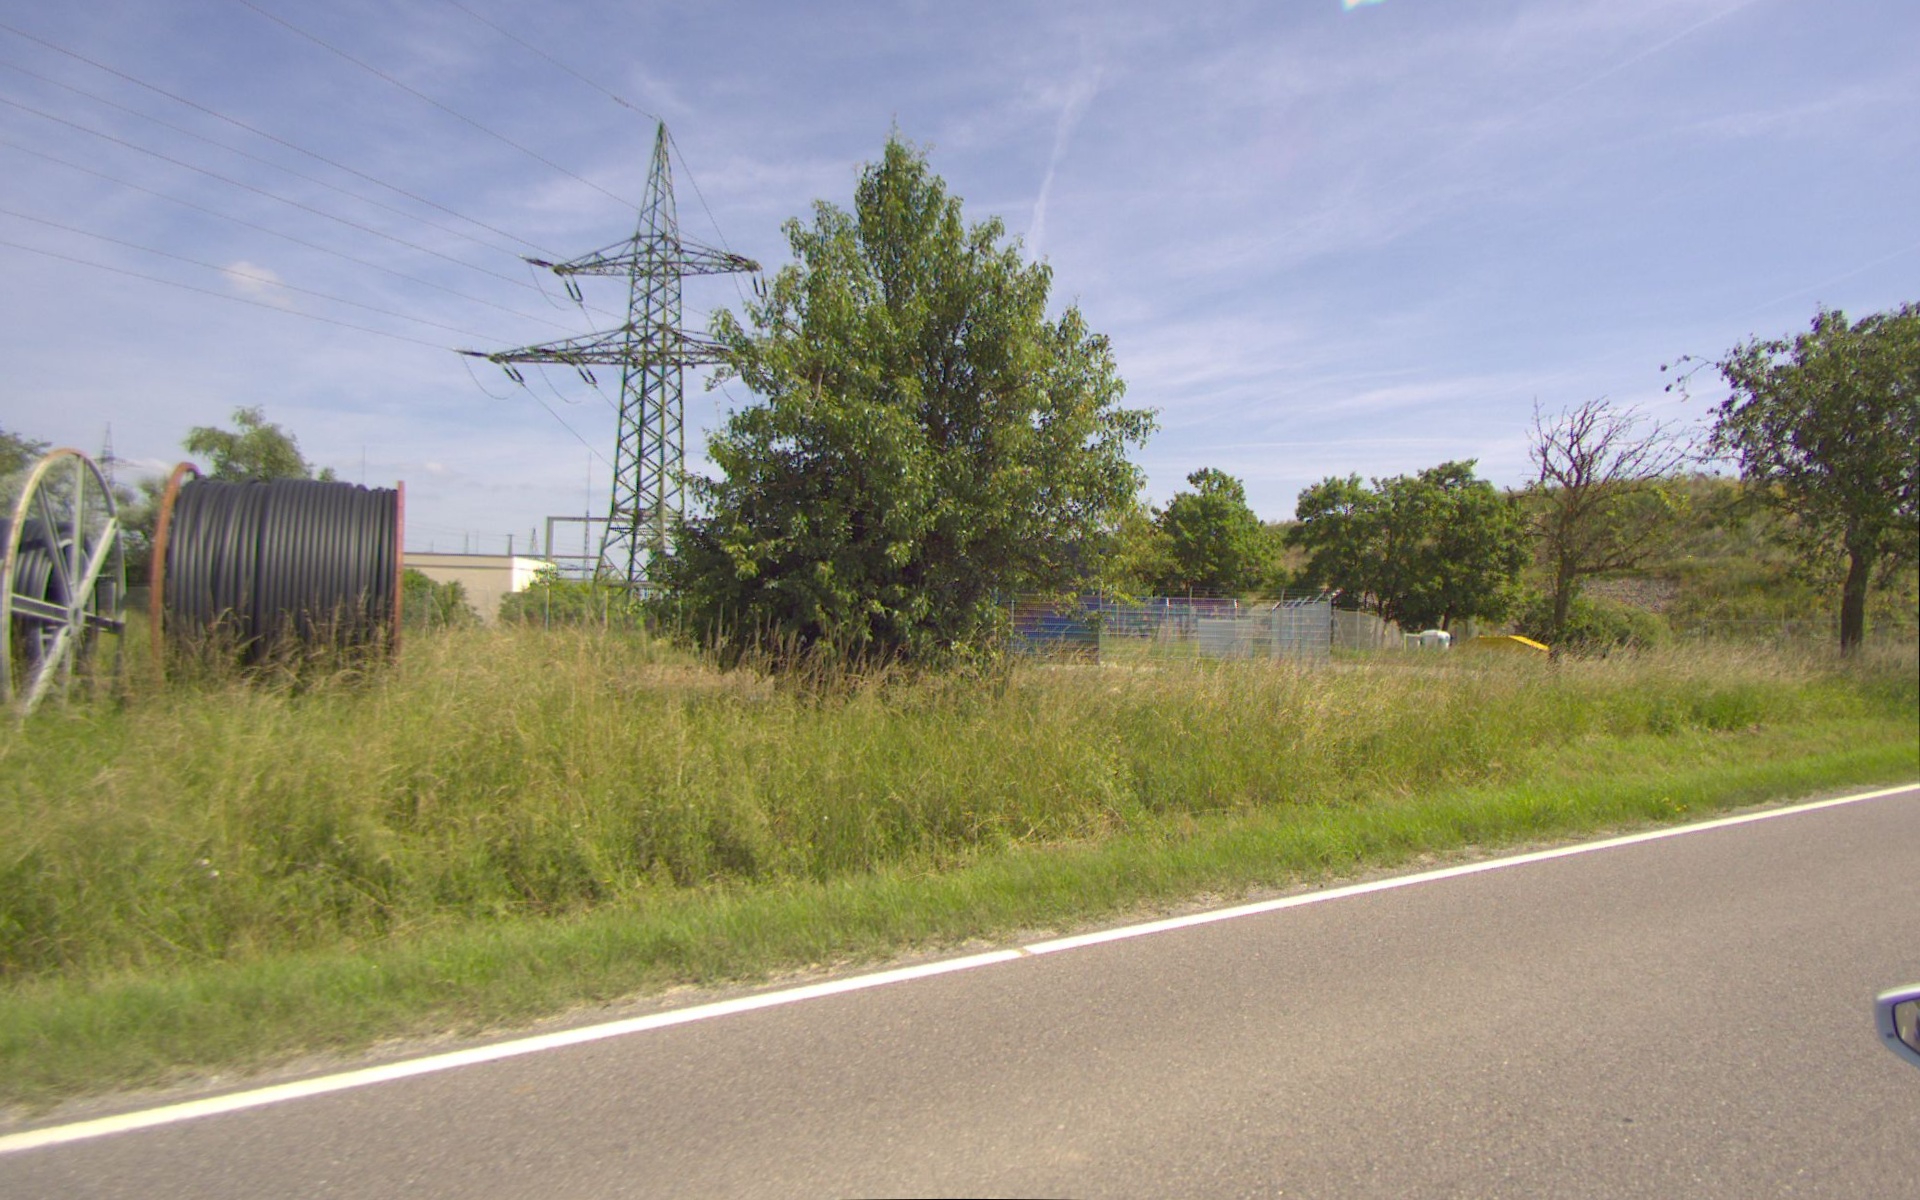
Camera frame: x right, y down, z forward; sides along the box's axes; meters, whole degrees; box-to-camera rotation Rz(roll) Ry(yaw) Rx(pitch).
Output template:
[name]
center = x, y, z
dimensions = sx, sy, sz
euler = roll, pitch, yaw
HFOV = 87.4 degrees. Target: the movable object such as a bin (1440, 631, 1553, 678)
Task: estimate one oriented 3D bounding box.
[movable object such as a bin]
center = 25.567, 2.551, 47.968
dimensions = 2.157, 1.940, 4.237
euler = 1, 1, -43
